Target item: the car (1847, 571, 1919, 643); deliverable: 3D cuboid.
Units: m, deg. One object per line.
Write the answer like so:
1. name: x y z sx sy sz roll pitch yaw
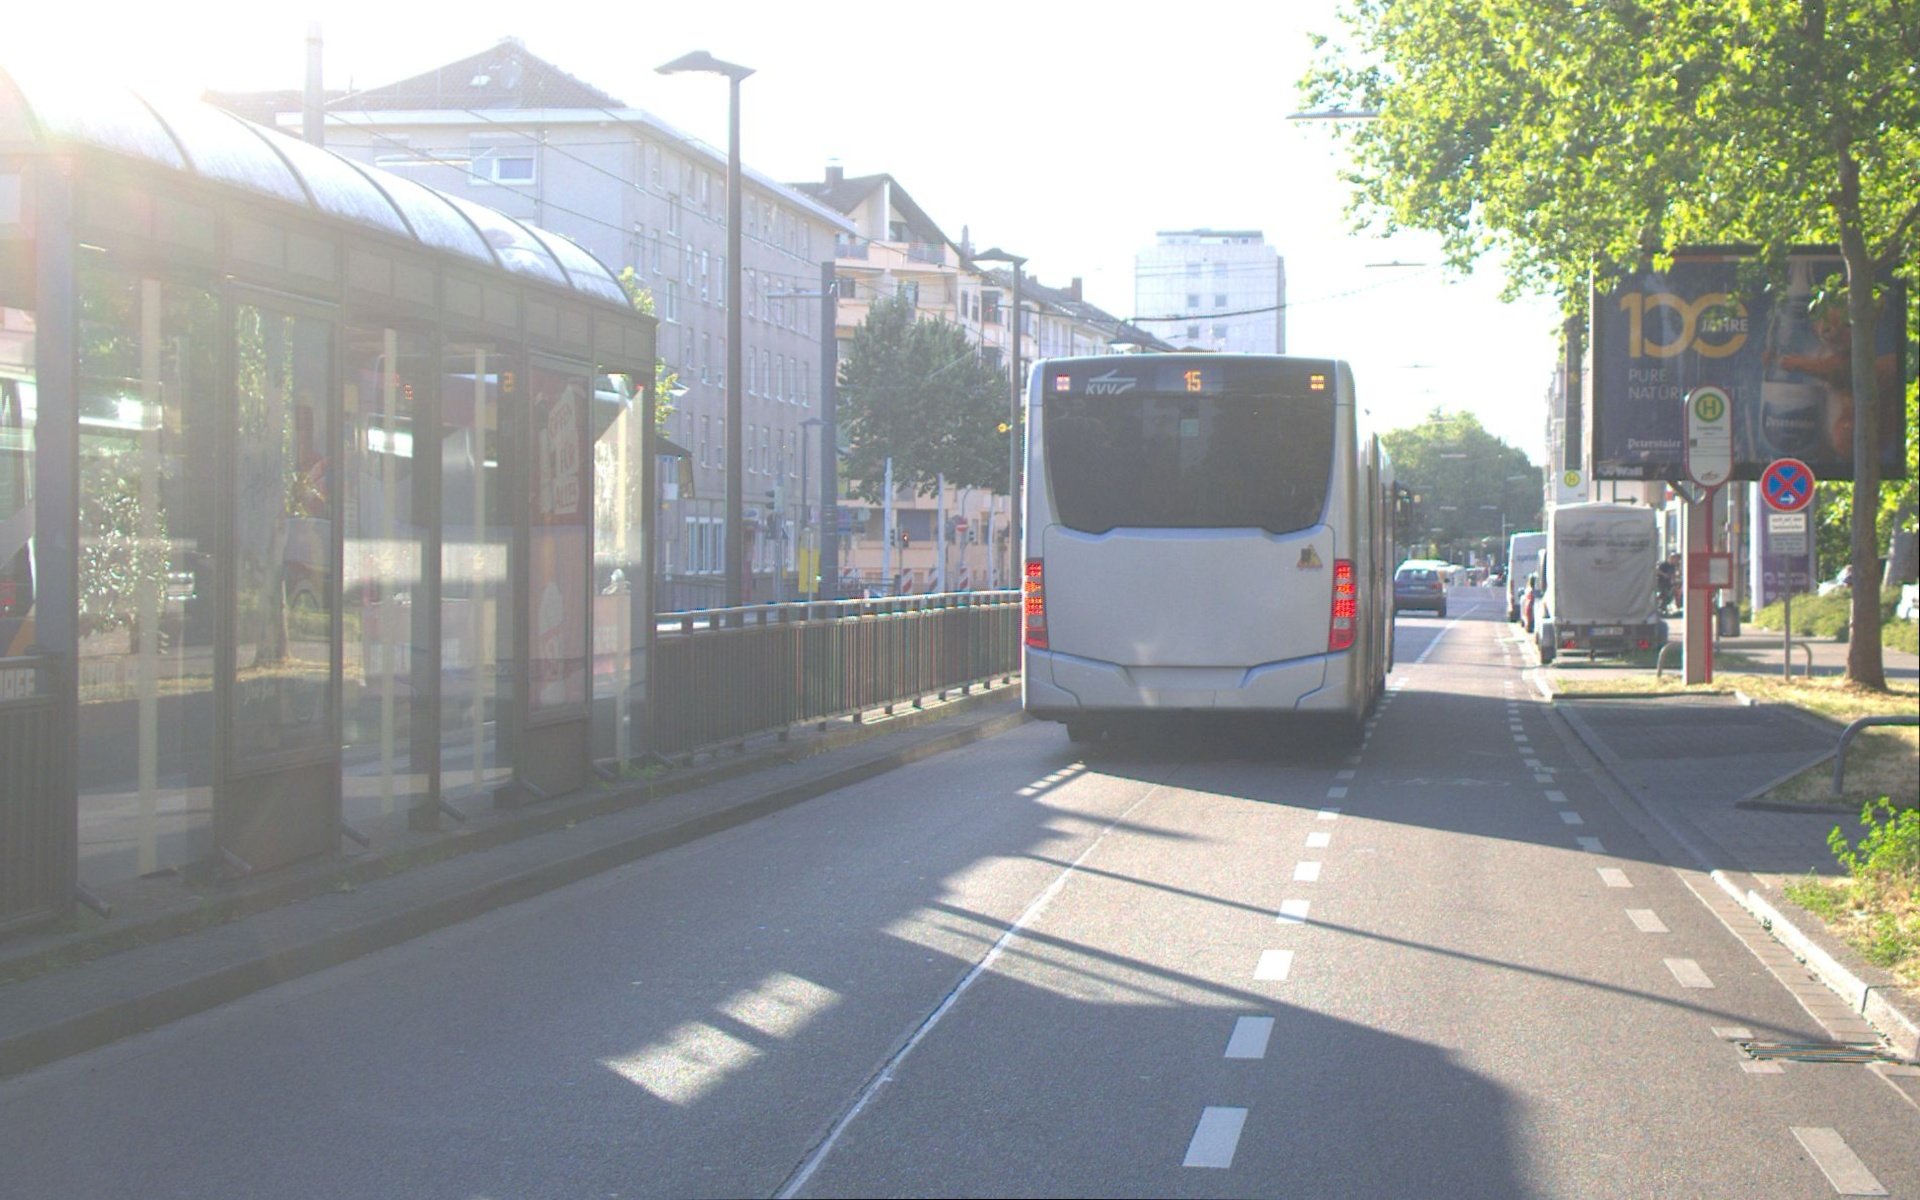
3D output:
1. car: 21.695 0.155 75.880 3.922 1.583 1.706 0 0 9

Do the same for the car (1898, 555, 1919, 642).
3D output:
1. car: 19.766 -0.033 64.655 3.922 1.632 1.706 0 0 9

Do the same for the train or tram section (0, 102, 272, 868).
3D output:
1. train or tram section: -6.193 -0.503 13.349 2.729 3.537 12.780 0 1 9

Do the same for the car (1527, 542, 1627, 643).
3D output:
1. car: 12.273 -0.159 68.576 1.847 1.950 4.542 0 0 9

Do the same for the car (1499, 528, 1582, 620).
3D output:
1. car: 16.876 -0.760 100.147 2.283 2.618 5.307 0 0 9

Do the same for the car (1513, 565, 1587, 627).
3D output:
1. car: 14.462 -0.106 84.418 1.672 1.458 3.932 -2 0 9

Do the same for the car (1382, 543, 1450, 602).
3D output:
1. car: 14.484 -0.883 109.014 1.994 1.809 3.999 1 1 9

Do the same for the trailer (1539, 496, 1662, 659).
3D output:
1. trailer: 10.318 -0.372 55.542 1.833 2.549 3.317 0 0 9

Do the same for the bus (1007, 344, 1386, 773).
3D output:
1. bus: 2.386 -0.402 30.575 2.734 3.128 10.700 1 1 7

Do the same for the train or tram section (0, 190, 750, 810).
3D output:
1. train or tram section: -4.292 -0.648 26.216 2.641 3.507 13.329 0 1 9

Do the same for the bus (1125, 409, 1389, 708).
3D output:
1. bus: 3.641 -0.510 40.253 2.709 3.096 8.977 1 1 7
